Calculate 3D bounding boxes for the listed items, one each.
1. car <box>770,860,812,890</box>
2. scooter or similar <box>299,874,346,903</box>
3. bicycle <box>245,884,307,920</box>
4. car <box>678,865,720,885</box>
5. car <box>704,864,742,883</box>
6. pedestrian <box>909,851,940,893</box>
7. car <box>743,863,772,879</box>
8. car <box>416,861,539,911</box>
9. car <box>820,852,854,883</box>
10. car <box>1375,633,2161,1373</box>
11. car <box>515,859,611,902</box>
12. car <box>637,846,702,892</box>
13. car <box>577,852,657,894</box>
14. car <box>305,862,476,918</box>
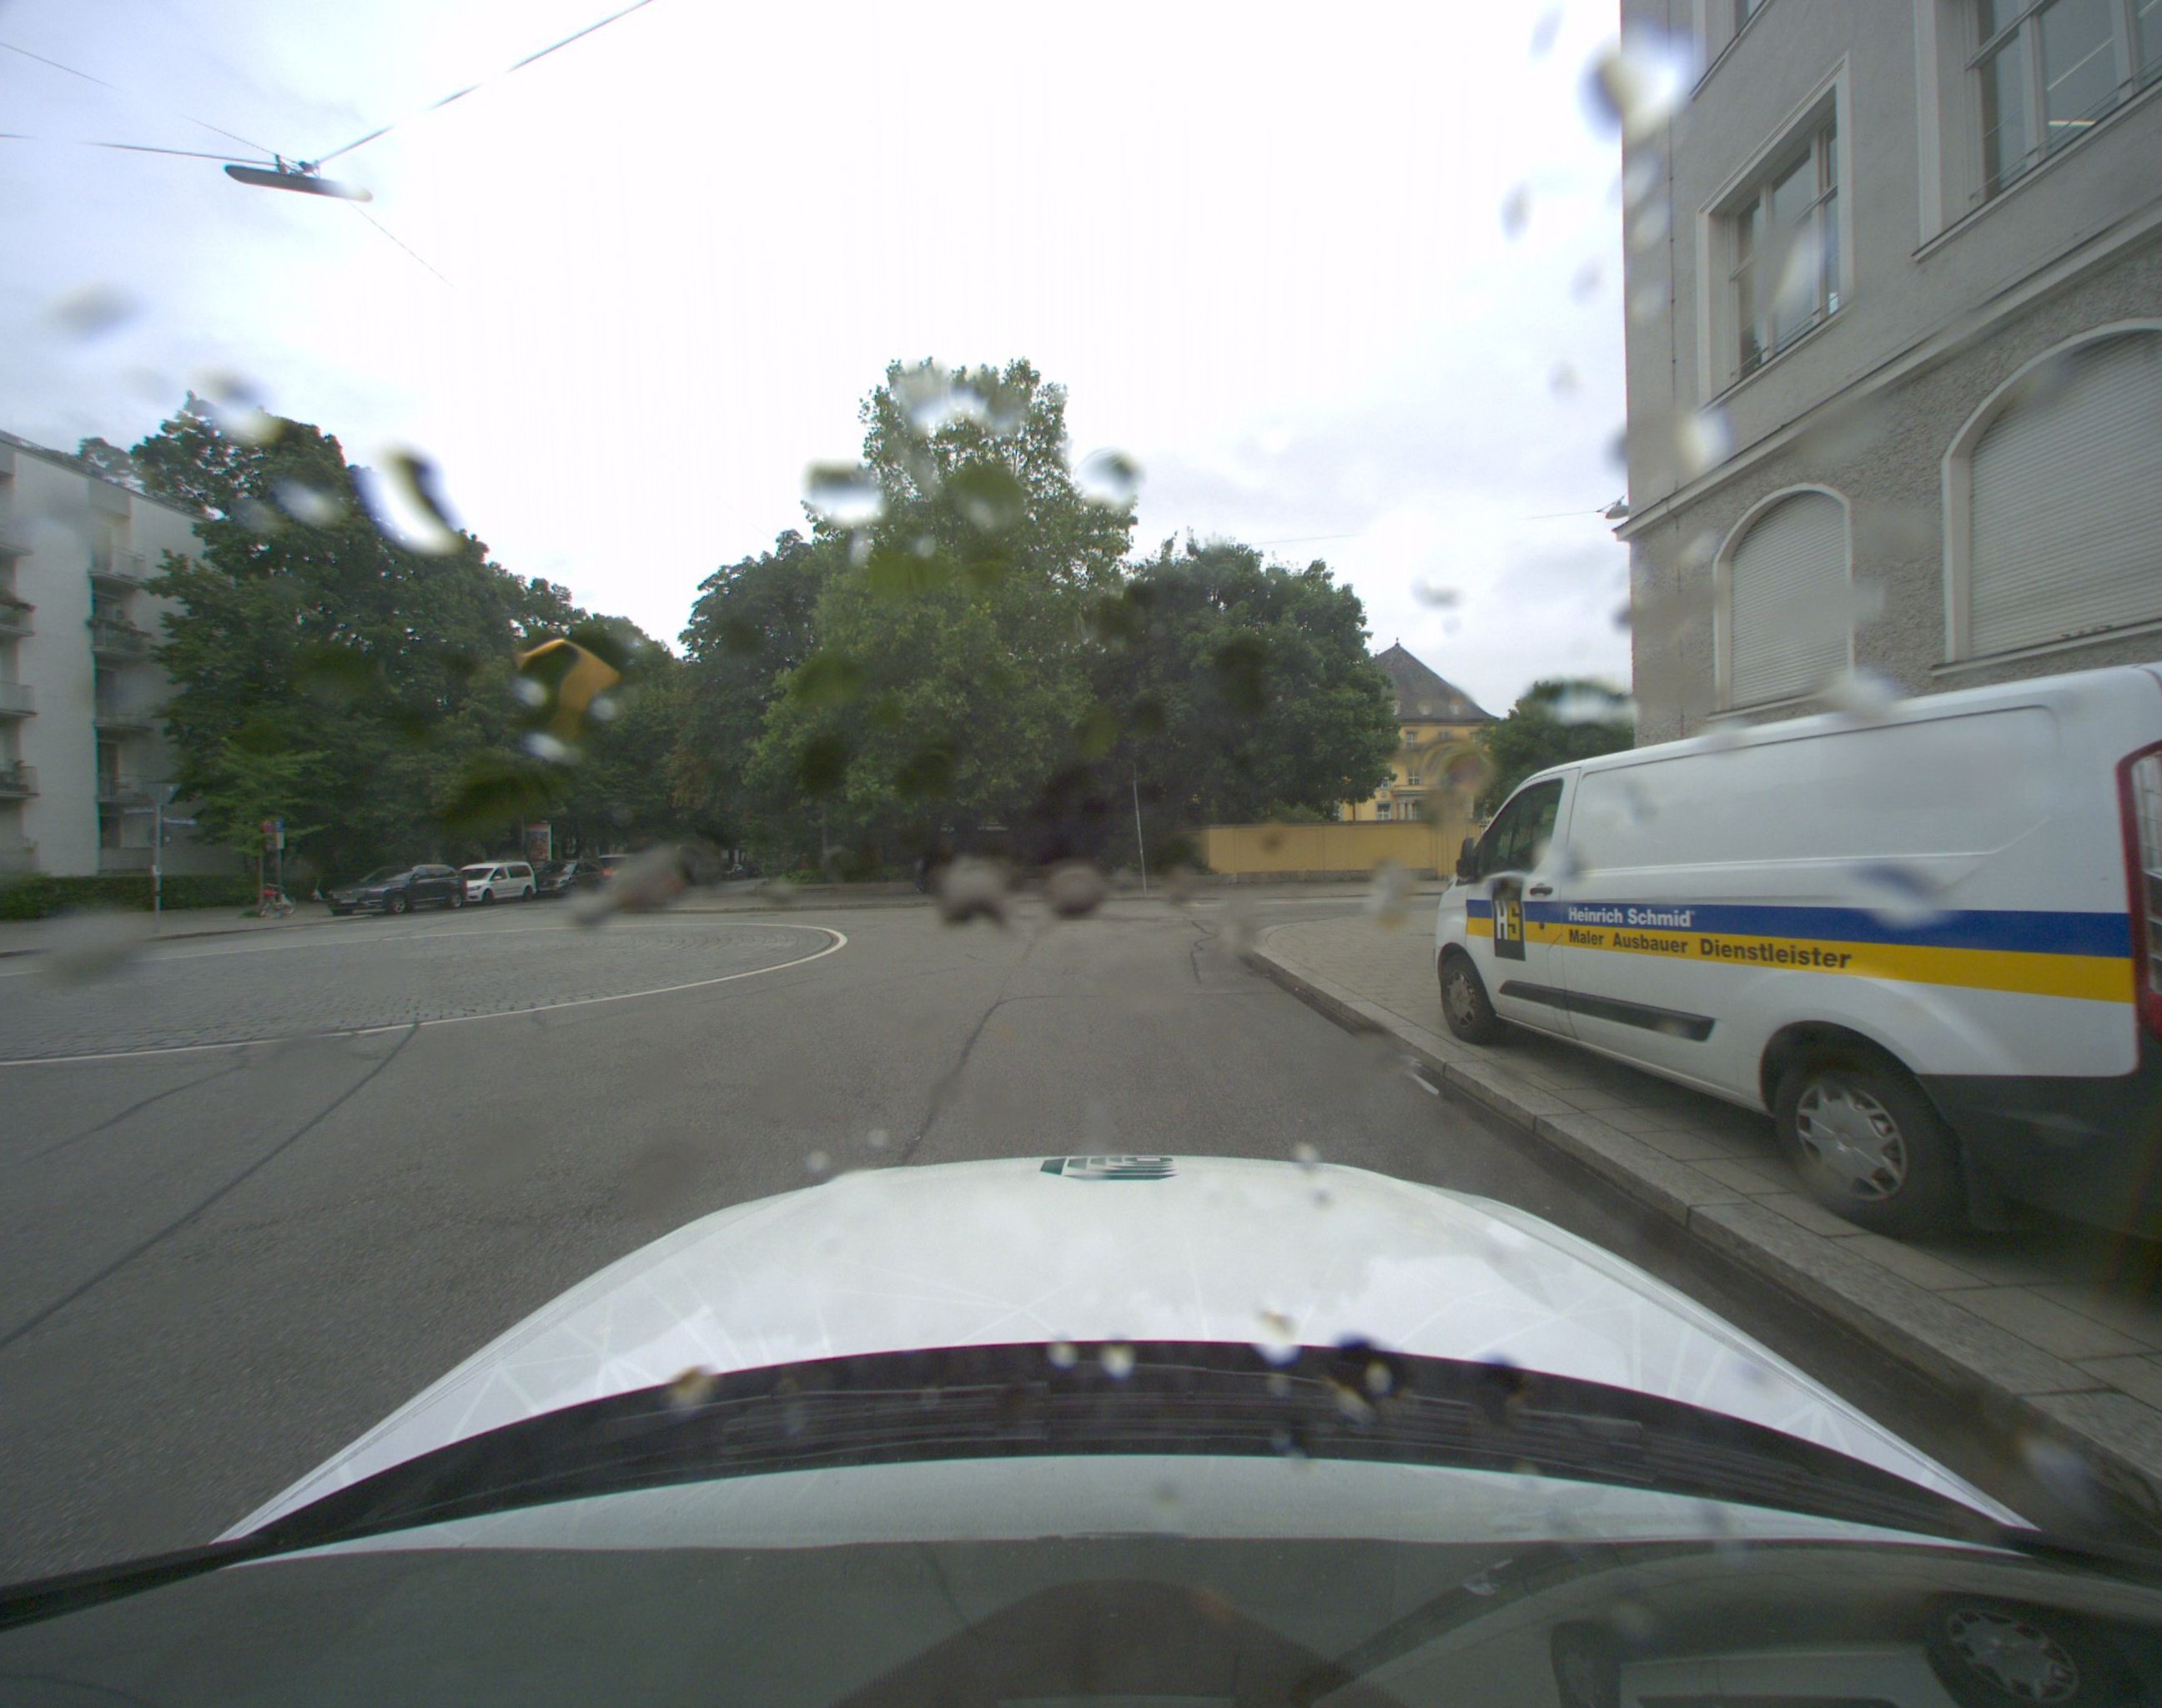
[{"bbox_3d":[-20.032,1.412,56.405,1.912,1.937,4.951,-2,0,-10],"label":"car"},{"bbox_3d":[-33.639,1.523,36.138,0.701,1.191,1.652,-2,0,-10],"label":"scooter or similar"},{"bbox_3d":[-27.239,1.594,27.596,0.753,1.085,1.773,-2,0,-18],"label":"bicycle"},{"bbox_3d":[-29.629,1.599,63.316,1.995,1.420,3.984,-2,0,-11],"label":"car"},{"bbox_3d":[-30.210,1.633,68.828,1.995,1.420,4.113,-2,0,-11],"label":"car"},{"bbox_3d":[-5.204,0.595,27.137,0.766,1.356,1.131,-2,0,1],"label":"pedestrian"},{"bbox_3d":[-32.580,1.726,82.137,1.995,1.486,4.113,-2,0,-11],"label":"car"},{"bbox_3d":[-25.733,1.282,34.994,2.082,1.903,4.846,-2,0,-7],"label":"car"},{"bbox_3d":[-21.502,1.157,71.995,1.992,2.558,5.415,-2,0,-8],"label":"car"},{"bbox_3d":[3.697,0.336,4.650,1.933,1.922,5.372,-3,0,-1],"label":"car"},{"bbox_3d":[-26.475,1.274,41.895,2.026,1.908,5.648,-3,0,-10],"label":"car"},{"bbox_3d":[-28.944,1.011,57.522,2.172,3.002,6.214,-2,0,-9],"label":"car"},{"bbox_3d":[-27.661,1.082,48.831,2.082,2.264,5.587,-4,0,-8],"label":"car"},{"bbox_3d":[-24.981,1.223,29.809,2.081,1.719,5.294,-2,0,-6],"label":"car"}]
